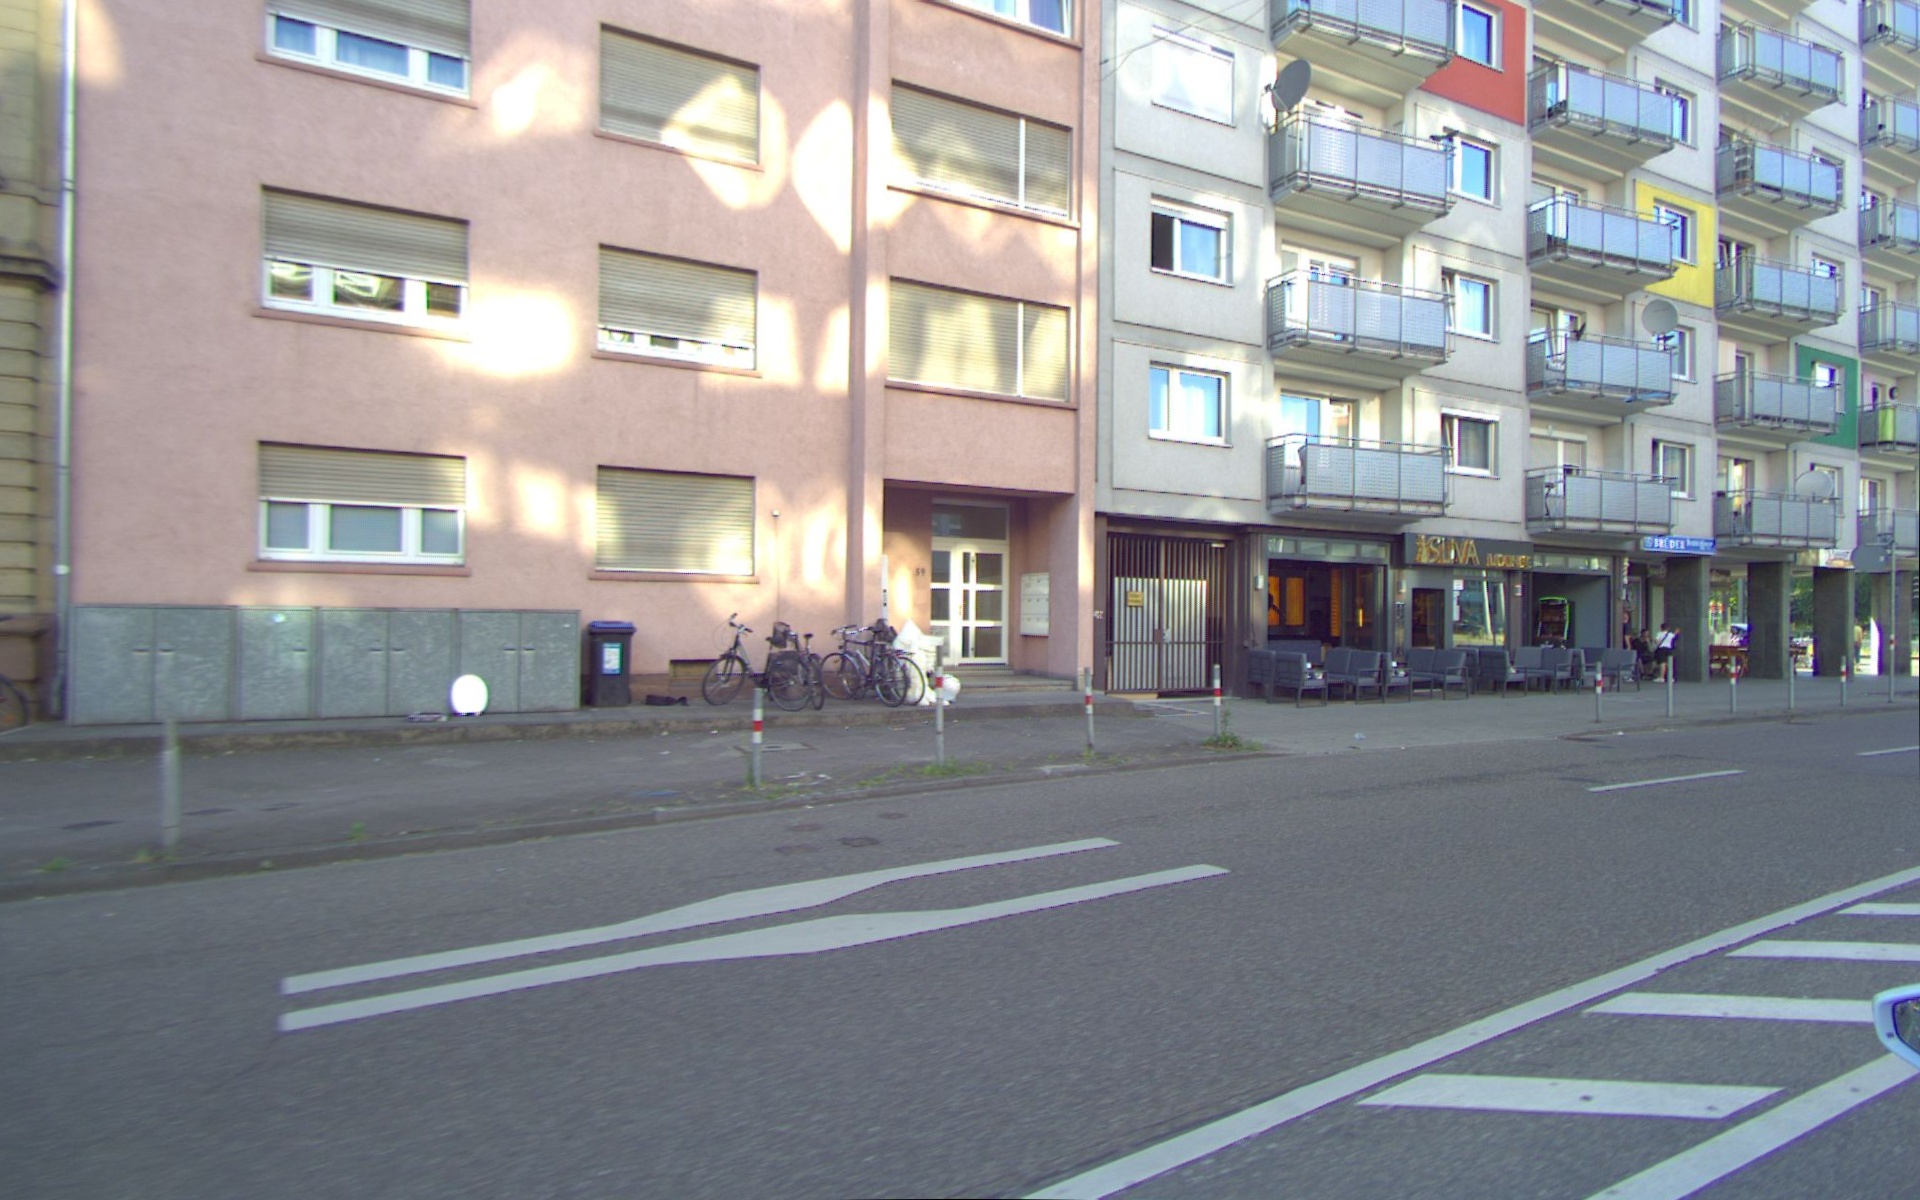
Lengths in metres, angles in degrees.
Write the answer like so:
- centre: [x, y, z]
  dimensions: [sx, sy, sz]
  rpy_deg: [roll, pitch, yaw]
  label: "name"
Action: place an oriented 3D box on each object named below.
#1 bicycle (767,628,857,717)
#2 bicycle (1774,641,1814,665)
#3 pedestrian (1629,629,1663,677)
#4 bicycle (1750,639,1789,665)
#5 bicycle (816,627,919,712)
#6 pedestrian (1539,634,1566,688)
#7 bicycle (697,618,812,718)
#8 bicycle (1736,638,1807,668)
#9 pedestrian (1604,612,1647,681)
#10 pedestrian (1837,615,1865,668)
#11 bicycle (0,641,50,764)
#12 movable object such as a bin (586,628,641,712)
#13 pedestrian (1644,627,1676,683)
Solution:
- centre: [-2.005, 0.931, 13.397]
  dimensions: [0.543, 1.054, 1.660]
  rpy_deg: [1, 0, -32]
  label: "bicycle"
- centre: [30.368, 1.916, 36.563]
  dimensions: [1.681, 0.851, 0.494]
  rpy_deg: [1, -1, -27]
  label: "bicycle"
- centre: [18.281, 1.395, 26.766]
  dimensions: [0.521, 1.256, 0.557]
  rpy_deg: [0, -1, -12]
  label: "pedestrian"
- centre: [30.055, 1.924, 37.281]
  dimensions: [1.681, 0.919, 0.494]
  rpy_deg: [1, -1, -27]
  label: "bicycle"
- centre: [-1.291, 0.921, 13.802]
  dimensions: [0.545, 1.054, 1.655]
  rpy_deg: [1, 0, -40]
  label: "bicycle"
- centre: [13.660, 1.390, 23.168]
  dimensions: [0.514, 1.219, 0.551]
  rpy_deg: [0, -1, 32]
  label: "pedestrian"
- centre: [-2.671, 0.840, 12.949]
  dimensions: [1.649, 1.175, 0.494]
  rpy_deg: [1, 0, 39]
  label: "bicycle"
- centre: [33.681, 2.183, 41.729]
  dimensions: [1.147, 1.183, 2.035]
  rpy_deg: [1, -1, -27]
  label: "bicycle"
- centre: [16.801, 1.167, 25.358]
  dimensions: [0.764, 1.723, 0.560]
  rpy_deg: [0, -1, 18]
  label: "pedestrian"
- centre: [30.196, 1.394, 34.044]
  dimensions: [0.463, 1.792, 0.551]
  rpy_deg: [1, -1, -24]
  label: "pedestrian"
- centre: [-9.370, 0.980, 9.543]
  dimensions: [0.654, 0.980, 1.641]
  rpy_deg: [1, 4, -27]
  label: "bicycle"
- centre: [-4.459, 0.880, 12.922]
  dimensions: [0.581, 1.045, 0.672]
  rpy_deg: [1, -1, -26]
  label: "movable object such as a bin"
- centre: [17.573, 1.372, 25.218]
  dimensions: [0.472, 1.402, 0.484]
  rpy_deg: [0, -1, -6]
  label: "pedestrian"
